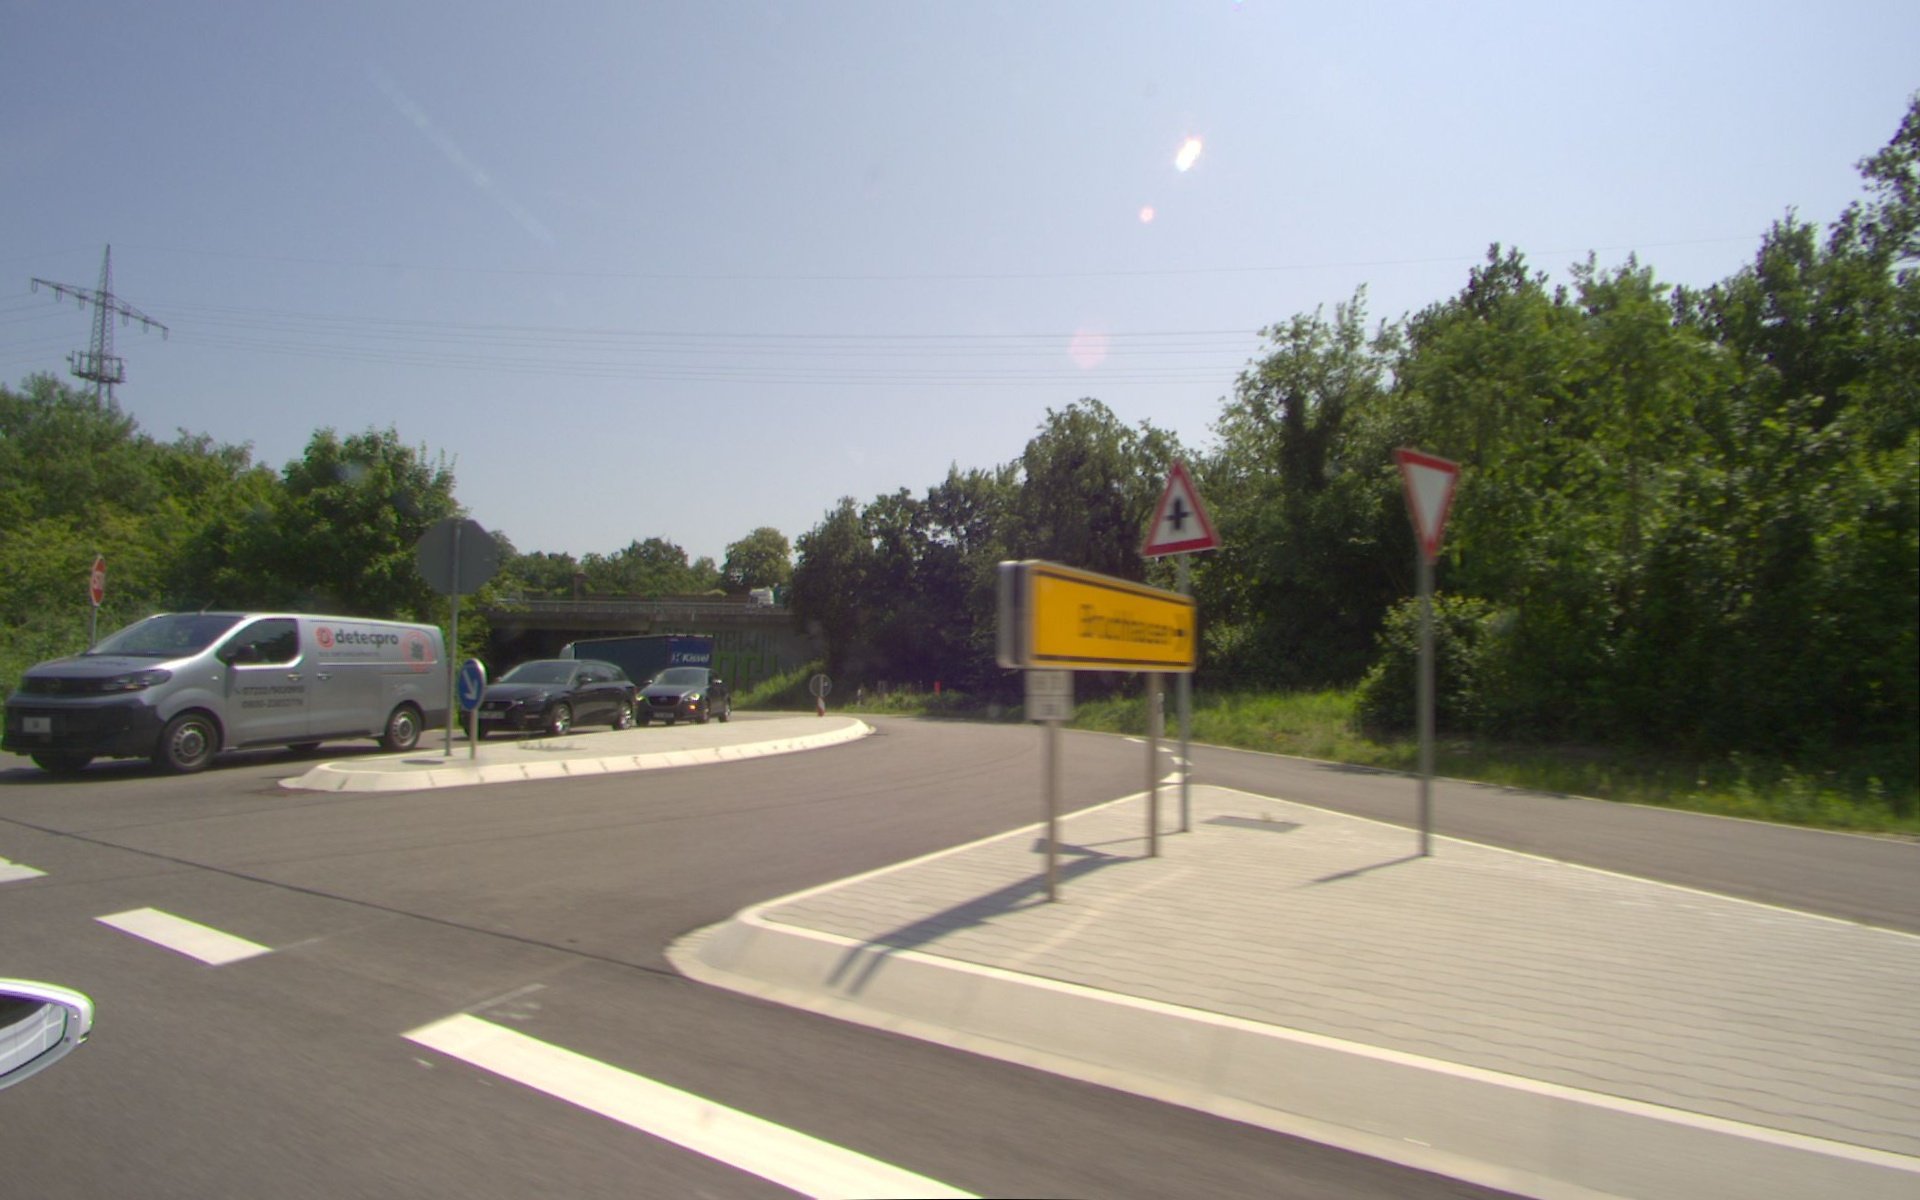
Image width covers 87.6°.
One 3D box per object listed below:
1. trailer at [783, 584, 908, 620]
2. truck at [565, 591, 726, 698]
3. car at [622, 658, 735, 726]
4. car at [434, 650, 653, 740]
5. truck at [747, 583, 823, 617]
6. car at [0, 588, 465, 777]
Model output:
[{"bbox_3d":[-10.883,0.207,95.928,11.545,3.297,2.914,0,-2,8],"label":"trailer"},{"bbox_3d":[-18.455,2.526,57.476,3.336,5.382,15.217,1,-2,-40],"label":"truck"},{"bbox_3d":[-7.177,2.405,25.966,1.776,1.616,4.104,0,-6,0],"label":"car"},{"bbox_3d":[-7.733,1.806,19.186,1.832,1.491,4.570,0,-5,7],"label":"car"},{"bbox_3d":[-16.906,0.035,96.774,6.655,3.189,2.914,0,-2,8],"label":"truck"},{"bbox_3d":[-9.075,1.052,12.999,1.975,1.929,5.234,0,-4,10],"label":"car"}]
